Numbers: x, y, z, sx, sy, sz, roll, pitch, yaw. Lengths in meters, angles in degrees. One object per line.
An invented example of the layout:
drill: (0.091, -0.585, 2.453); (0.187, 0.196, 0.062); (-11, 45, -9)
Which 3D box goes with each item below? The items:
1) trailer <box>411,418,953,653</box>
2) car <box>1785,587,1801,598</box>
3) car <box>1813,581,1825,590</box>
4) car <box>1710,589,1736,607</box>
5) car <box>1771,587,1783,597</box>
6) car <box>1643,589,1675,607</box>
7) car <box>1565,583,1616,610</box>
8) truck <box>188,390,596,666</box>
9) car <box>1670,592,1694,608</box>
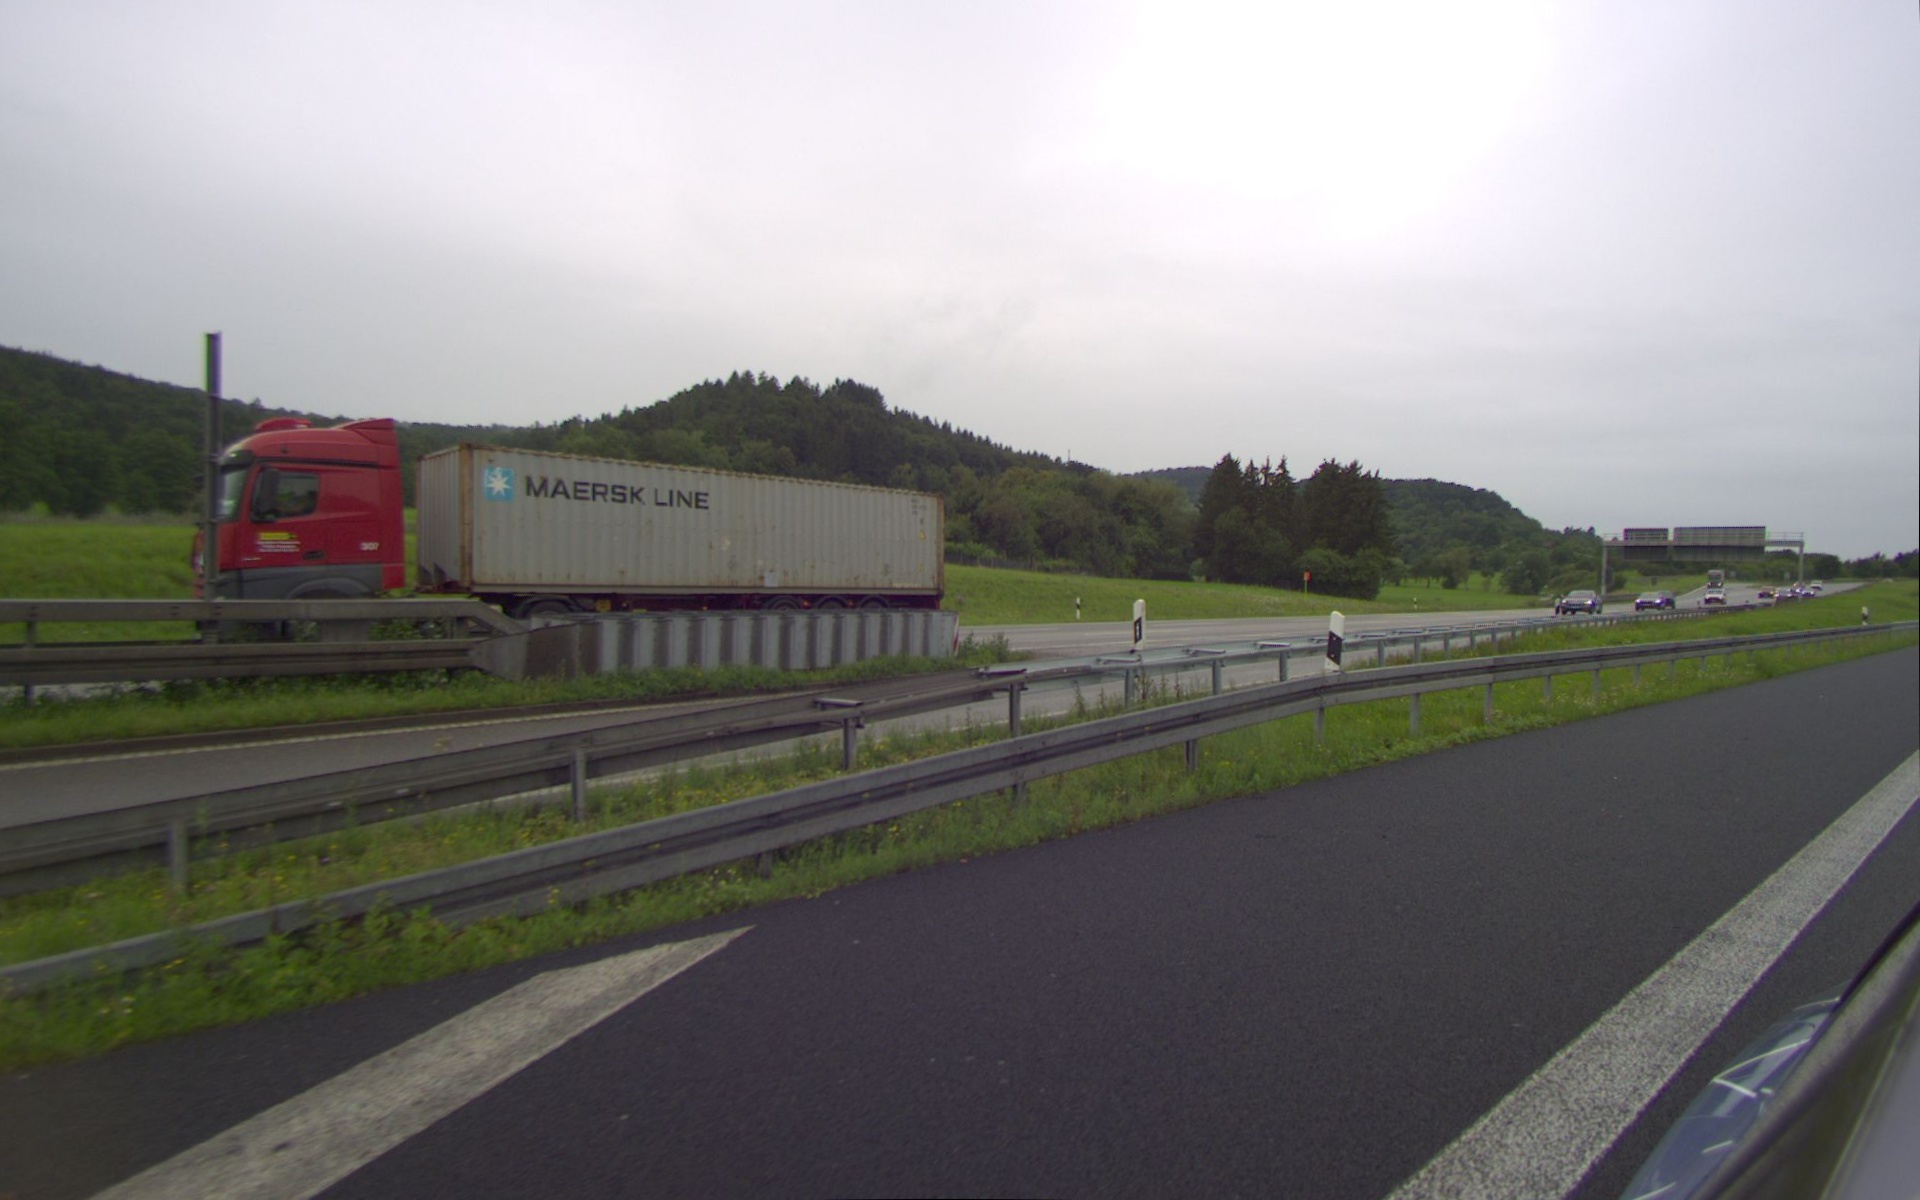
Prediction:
trailer: (-5.274, -1.145, 22.654); (2.490, 4.034, 12.210); (-1, 0, 43)
car: (124.756, -1.167, 151.549); (1.579, 1.571, 3.939); (0, 0, 42)
car: (157.175, -2.663, 185.273); (1.577, 1.571, 3.943); (0, 0, 39)
car: (92.198, -0.263, 122.287); (1.994, 2.039, 3.936); (2, 1, 44)
car: (133.261, -1.268, 165.031); (1.577, 1.571, 3.943); (0, 0, 39)
car: (60.131, -0.171, 87.053); (1.990, 1.490, 4.257); (2, 1, 39)
car: (42.627, -0.251, 68.356); (4.248, 1.742, 1.995); (0, 1, -45)
truck: (-9.760, -1.077, 17.837); (2.507, 4.037, 5.835); (-1, 0, 43)
car: (69.825, 0.017, 97.847); (1.743, 1.527, 3.945); (0, 0, 38)
